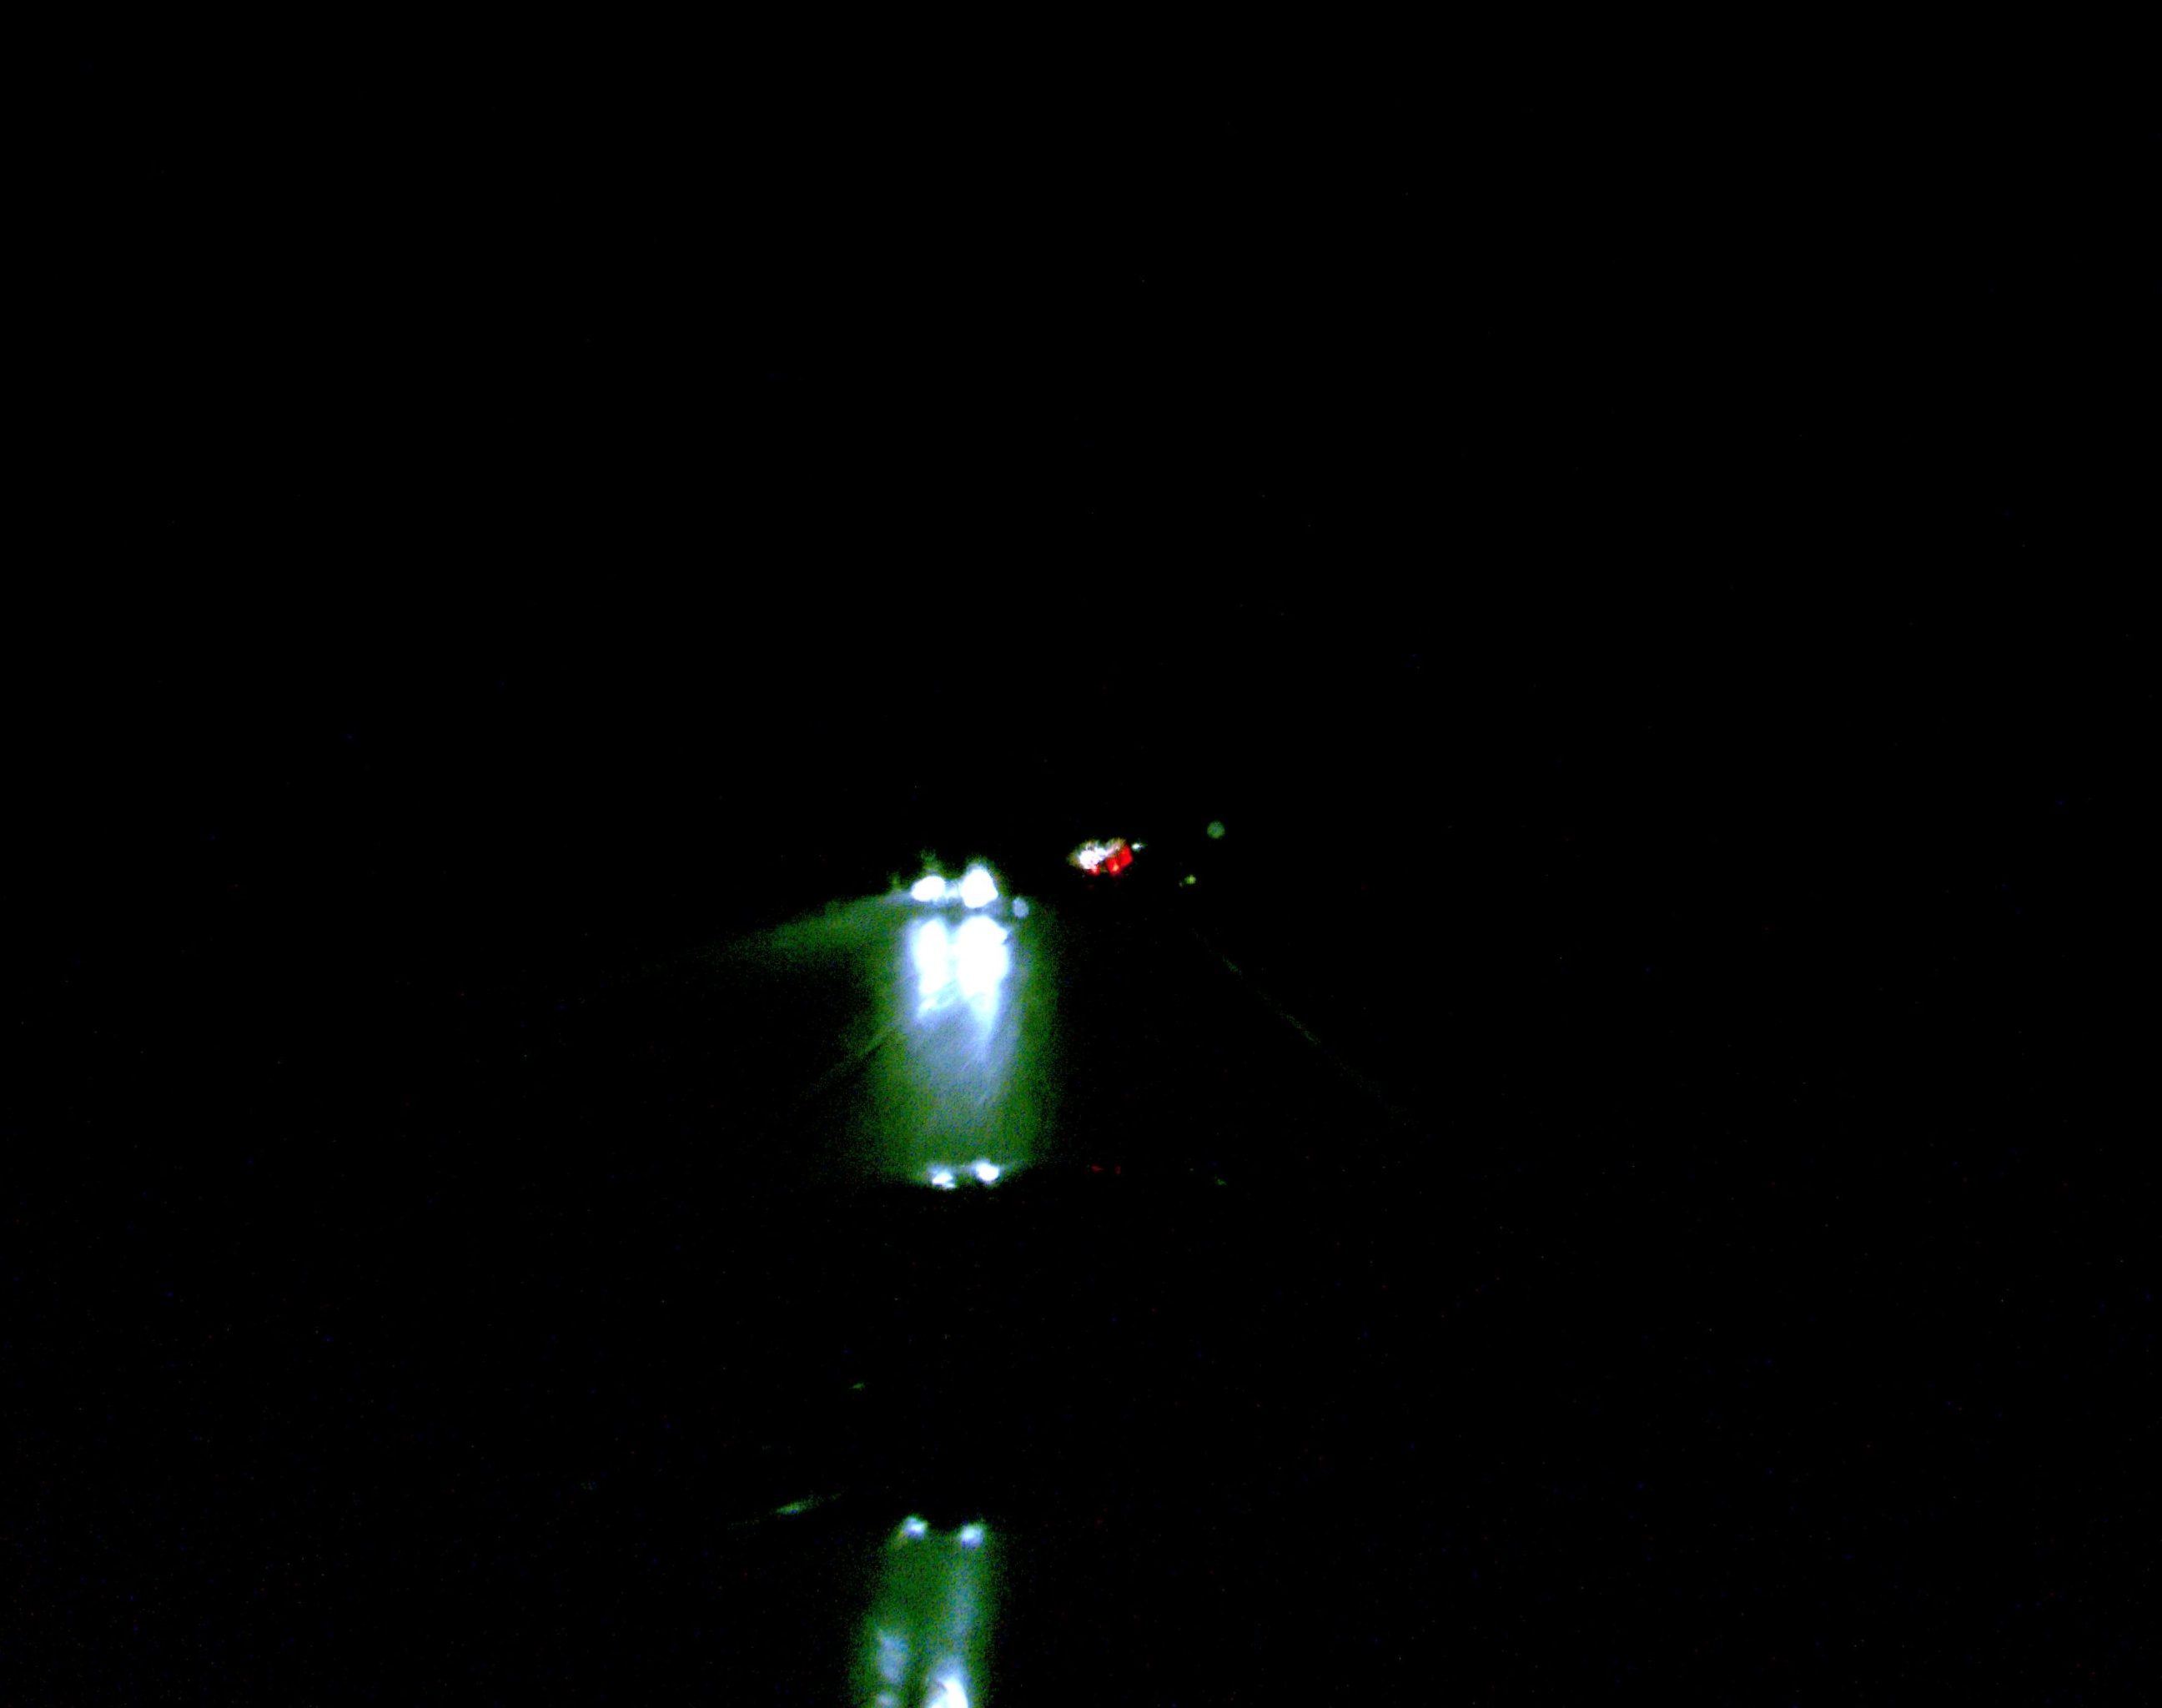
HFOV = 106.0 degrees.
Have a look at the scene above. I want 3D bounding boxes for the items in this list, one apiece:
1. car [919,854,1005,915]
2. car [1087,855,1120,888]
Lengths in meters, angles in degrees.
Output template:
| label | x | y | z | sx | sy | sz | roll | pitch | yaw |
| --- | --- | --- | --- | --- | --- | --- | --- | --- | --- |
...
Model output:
| label | x | y | z | sx | sy | sz | roll | pitch | yaw |
| --- | --- | --- | --- | --- | --- | --- | --- | --- | --- |
| car | -3.542 | 0.883 | 24.908 | 1.939 | 1.728 | 4.001 | 0 | -1 | 2 |
| car | 1.279 | 0.975 | 47.207 | 1.836 | 1.740 | 4.001 | 0 | 1 | 1 |
